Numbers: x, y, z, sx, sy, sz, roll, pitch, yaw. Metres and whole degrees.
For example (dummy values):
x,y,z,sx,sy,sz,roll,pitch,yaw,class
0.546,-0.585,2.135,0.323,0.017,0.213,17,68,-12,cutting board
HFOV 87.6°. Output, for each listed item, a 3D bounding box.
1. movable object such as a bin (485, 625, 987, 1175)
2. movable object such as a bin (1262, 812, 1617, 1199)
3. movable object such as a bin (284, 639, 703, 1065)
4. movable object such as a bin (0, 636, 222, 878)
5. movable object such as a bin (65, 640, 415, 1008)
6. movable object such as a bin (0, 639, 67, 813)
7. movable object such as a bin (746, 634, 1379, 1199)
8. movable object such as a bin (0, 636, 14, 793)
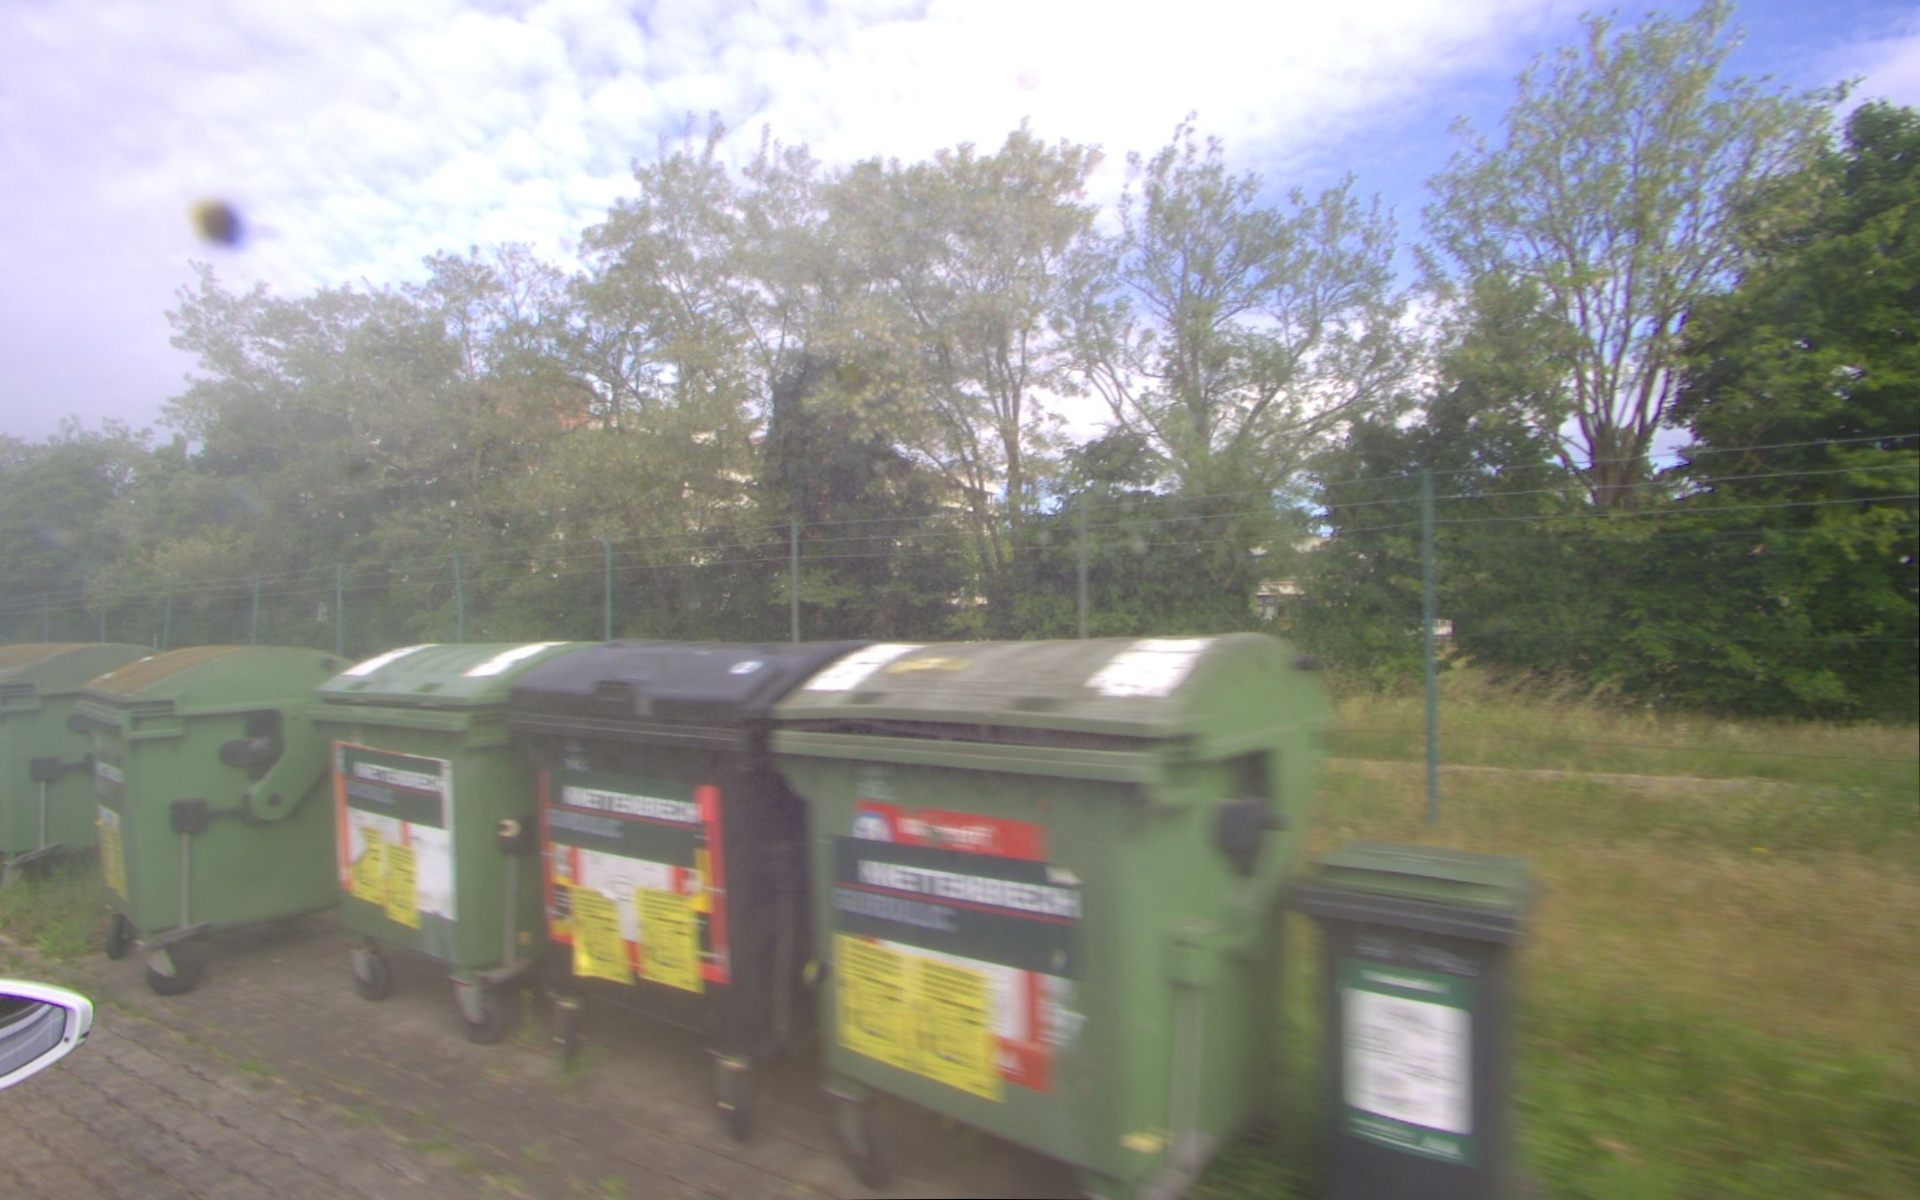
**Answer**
x,y,z,sx,sy,sz,roll,pitch,yaw,class
-0.778,0.831,3.501,1.380,1.453,1.066,-2,-2,35,movable object such as a bin
1.093,0.992,2.270,0.579,0.877,0.597,-2,-2,41,movable object such as a bin
-1.954,0.888,4.211,1.367,1.423,1.066,-2,-2,35,movable object such as a bin
-5.555,0.893,6.245,1.360,1.312,1.121,-2,-2,32,movable object such as a bin
-3.444,0.913,4.780,1.371,1.416,1.117,-2,-2,43,movable object such as a bin
-8.129,0.998,8.069,1.475,1.342,1.150,-2,-2,38,movable object such as a bin
0.274,0.812,2.775,1.341,1.413,1.123,-2,-2,41,movable object such as a bin
-9.398,1.029,8.979,1.475,1.391,1.119,-2,-2,38,movable object such as a bin
